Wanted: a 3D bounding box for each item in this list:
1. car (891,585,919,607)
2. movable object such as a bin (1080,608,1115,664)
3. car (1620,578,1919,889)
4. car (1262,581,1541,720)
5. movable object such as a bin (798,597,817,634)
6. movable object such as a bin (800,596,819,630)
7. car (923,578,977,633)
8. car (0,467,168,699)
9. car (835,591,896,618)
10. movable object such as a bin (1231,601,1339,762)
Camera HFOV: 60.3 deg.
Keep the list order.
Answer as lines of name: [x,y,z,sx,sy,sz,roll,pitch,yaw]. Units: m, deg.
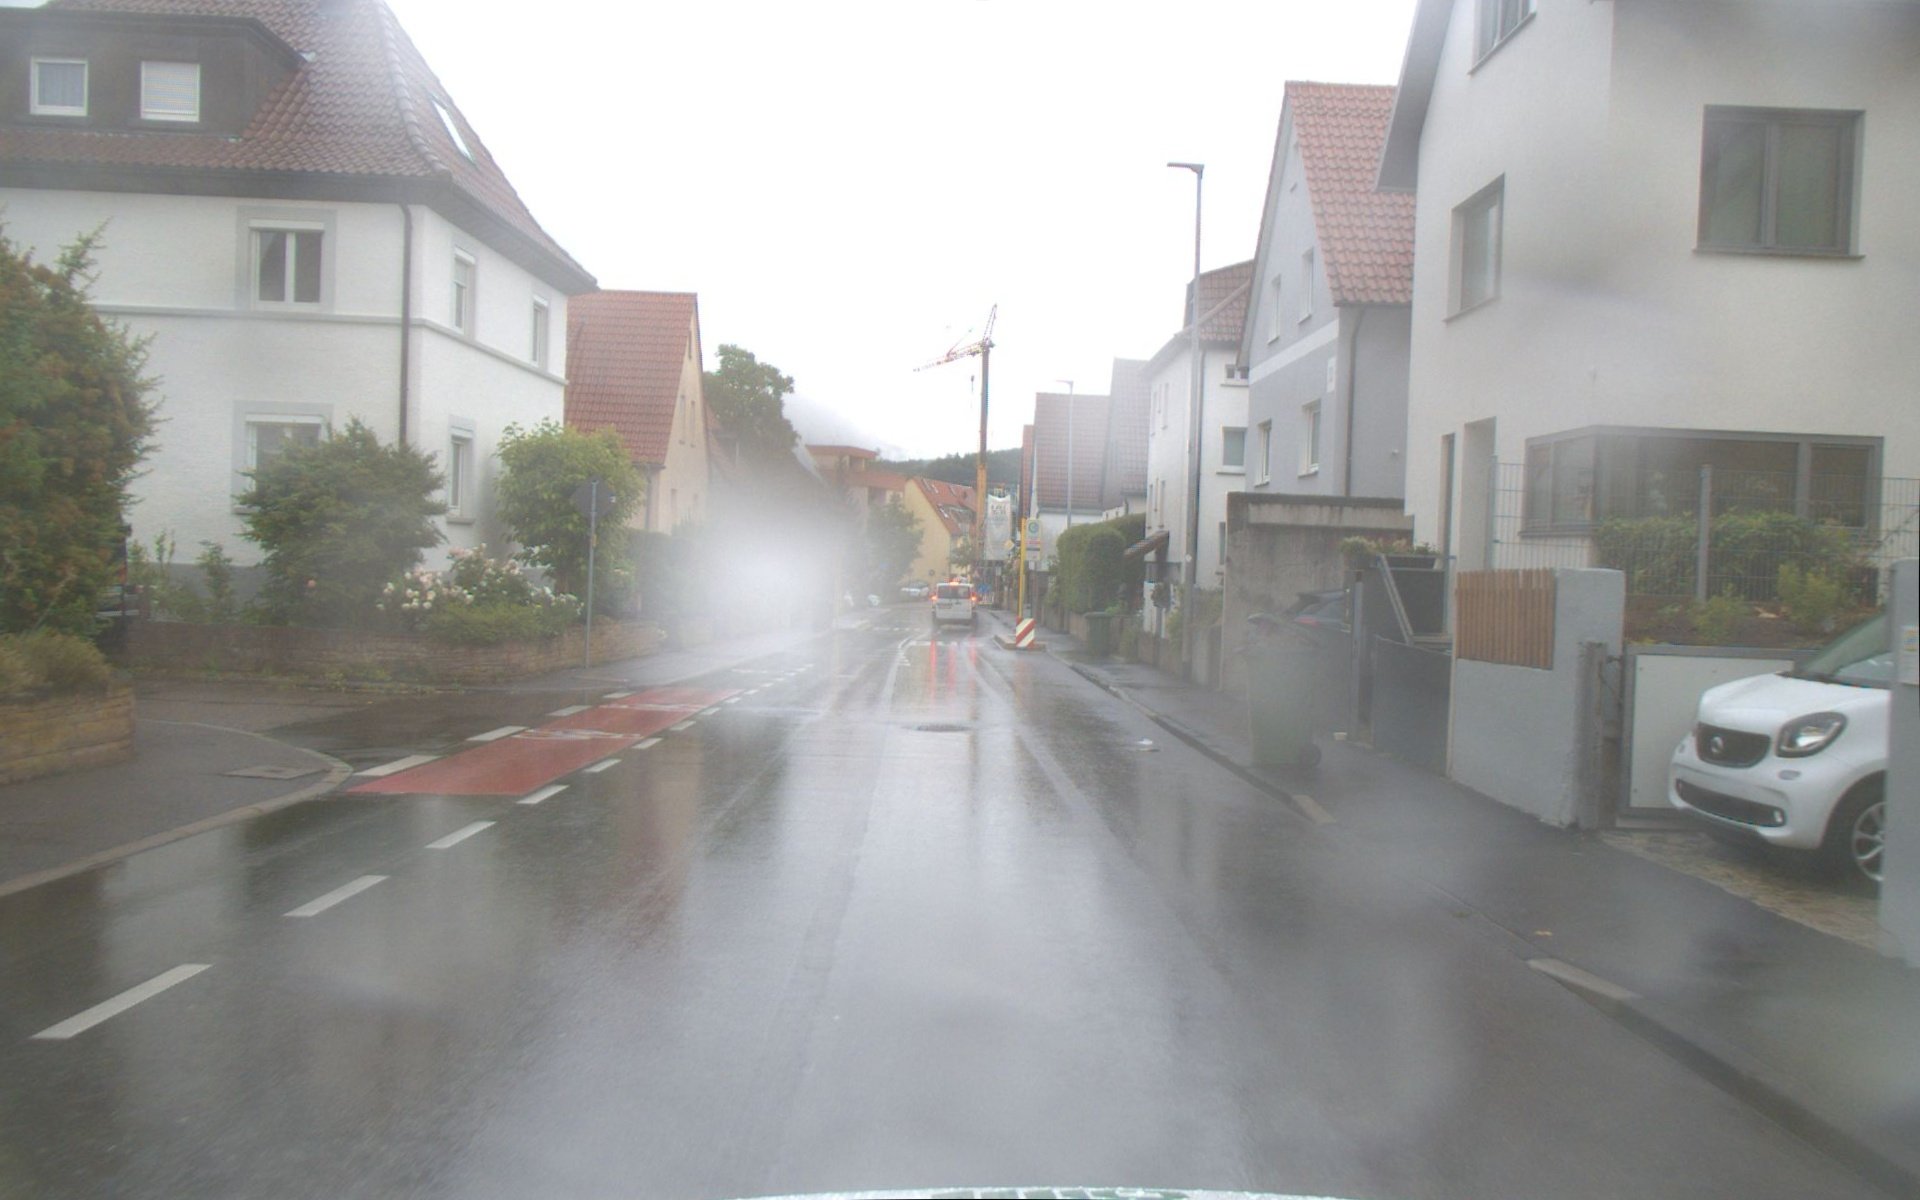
car: [-4.580,-0.348,137.523,1.803,1.605,4.293,3,3,4]
movable object such as a bin: [3.449,0.903,41.556,0.769,1.299,0.714,3,2,3]
car: [5.754,0.683,9.236,3.423,1.548,1.739,1,1,-1]
car: [5.944,0.655,22.497,3.306,1.589,1.515,3,3,-1]
movable object such as a bin: [-5.805,0.589,62.940,0.669,1.345,0.639,3,2,-6]
movable object such as a bin: [-5.795,0.499,63.766,0.669,1.244,0.639,3,2,-6]
car: [-0.401,0.201,68.147,2.074,1.920,4.503,3,3,0]
car: [-12.381,-0.305,20.221,4.277,2.667,2.319,2,3,-4]
car: [-6.975,0.313,121.846,4.186,1.605,1.849,4,3,5]
movable object such as a bin: [2.823,0.691,14.441,0.730,1.301,0.882,1,3,0]
